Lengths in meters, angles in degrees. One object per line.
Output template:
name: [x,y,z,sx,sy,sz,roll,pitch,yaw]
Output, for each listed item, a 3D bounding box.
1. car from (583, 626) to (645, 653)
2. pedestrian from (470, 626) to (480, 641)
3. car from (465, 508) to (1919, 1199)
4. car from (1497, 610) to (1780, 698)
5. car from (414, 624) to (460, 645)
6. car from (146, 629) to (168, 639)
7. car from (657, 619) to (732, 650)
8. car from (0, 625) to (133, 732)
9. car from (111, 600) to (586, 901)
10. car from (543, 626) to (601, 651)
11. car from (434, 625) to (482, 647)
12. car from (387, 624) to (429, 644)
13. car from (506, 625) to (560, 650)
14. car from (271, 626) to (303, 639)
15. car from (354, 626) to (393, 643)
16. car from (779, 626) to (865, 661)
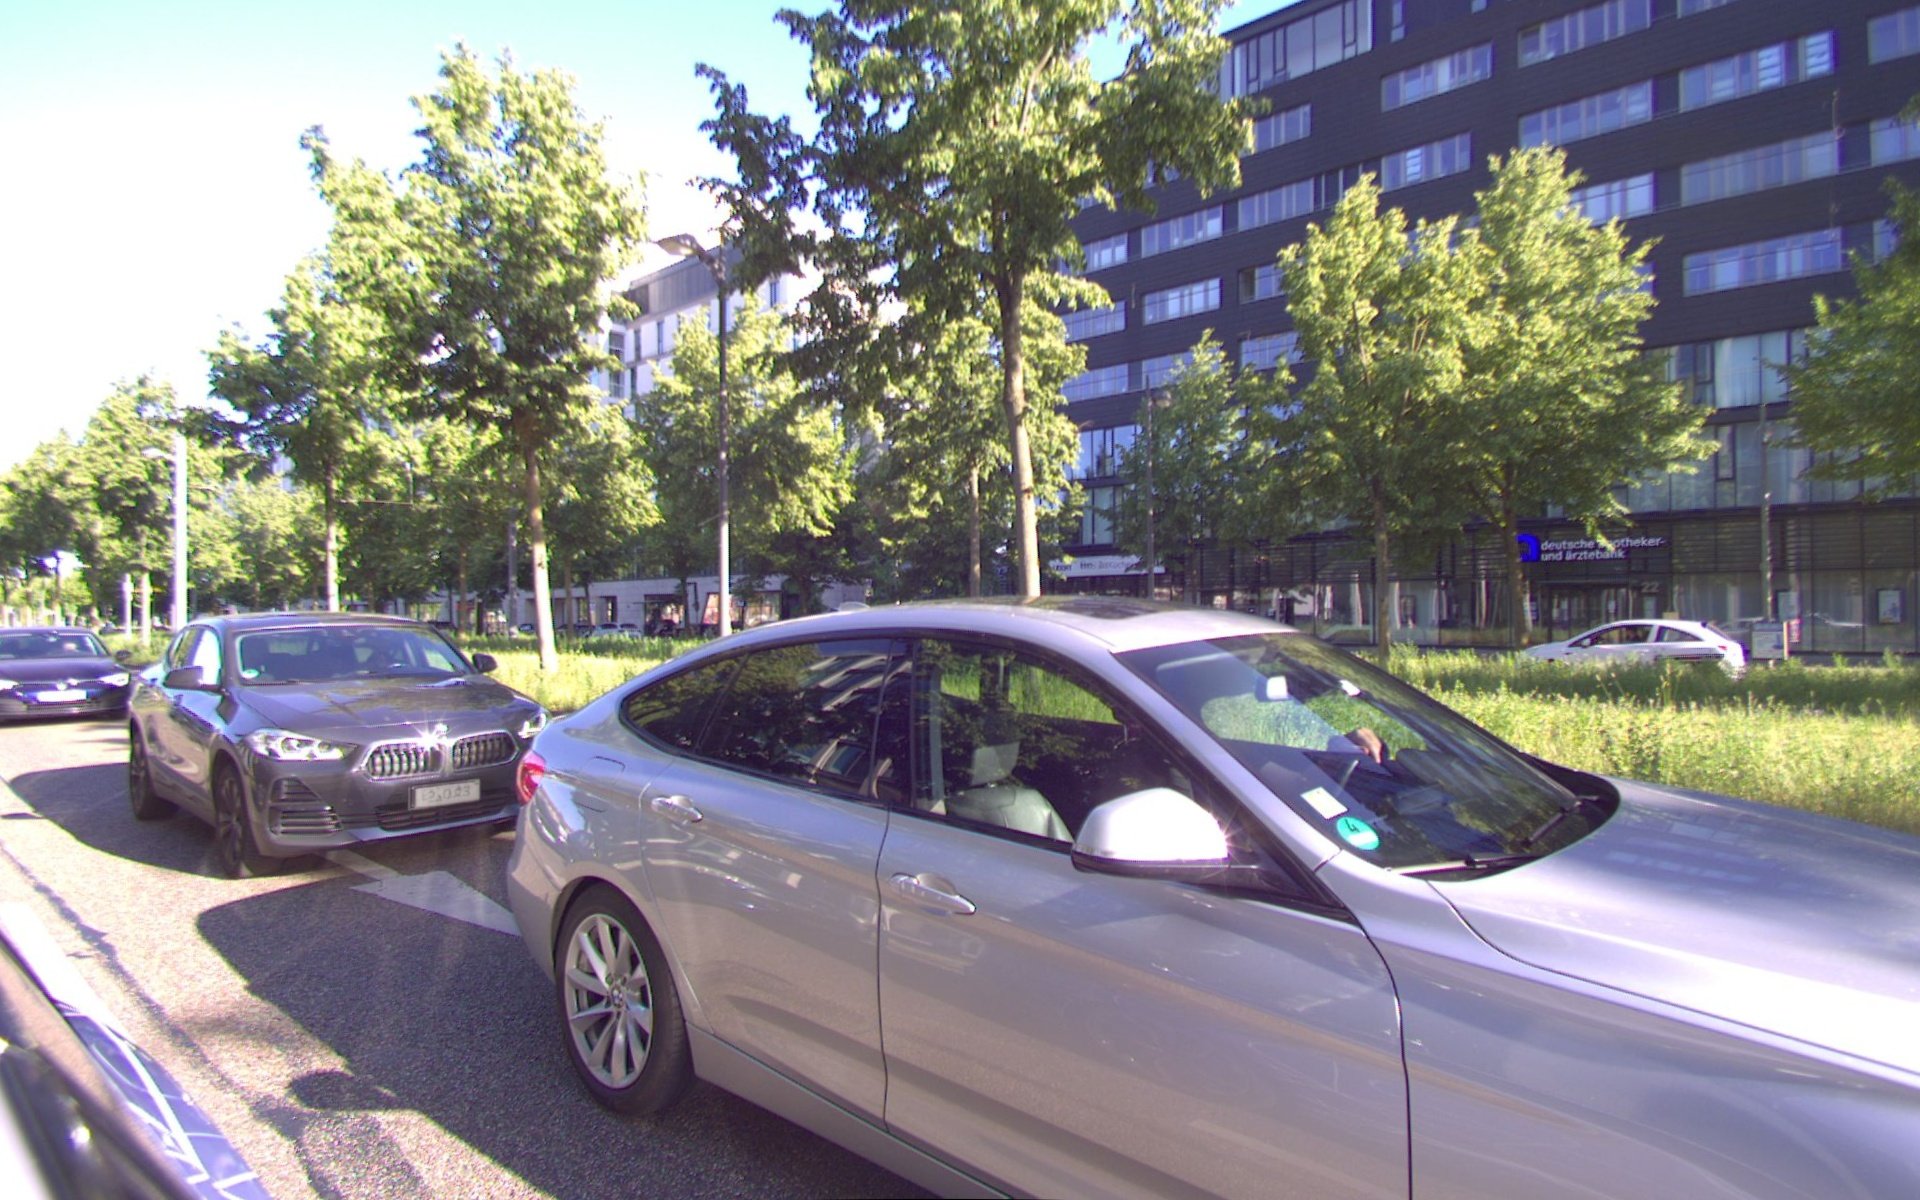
car: [-21.616,2.466,63.175,4.182,1.609,1.859,-2,-1,41]
pedestrian: [-43.863,3.012,91.444,0.660,1.349,0.597,-2,-1,41]
car: [0.652,0.678,2.593,4.558,1.495,1.800,-1,-1,40]
car: [13.597,1.027,20.458,4.565,1.494,1.781,-1,2,41]
car: [-42.131,2.783,81.474,4.182,1.609,1.859,-2,-1,41]
car: [-114.627,4.813,144.487,4.001,1.406,1.971,-2,-2,44]
car: [-14.532,1.856,55.314,4.182,1.609,1.926,-2,-1,41]
car: [-14.254,1.115,15.515,4.344,1.434,1.854,-1,-1,43]
car: [-4.450,0.794,7.103,4.000,1.502,1.836,-1,-1,43]
car: [-25.699,2.526,67.050,4.182,1.609,1.859,-2,-1,41]
car: [-38.669,2.737,77.968,4.182,1.609,1.859,-2,-1,41]
car: [-46.586,2.852,85.371,4.182,1.609,1.859,-2,-1,41]
car: [-29.728,2.591,70.462,4.182,1.609,1.859,-2,-1,41]
car: [-72.532,3.499,109.056,3.998,1.406,1.972,-2,-2,41]
car: [-52.065,3.045,89.765,4.001,1.406,1.971,-2,-2,44]
car: [-6.765,2.077,49.383,4.182,1.609,1.926,-2,-1,41]
